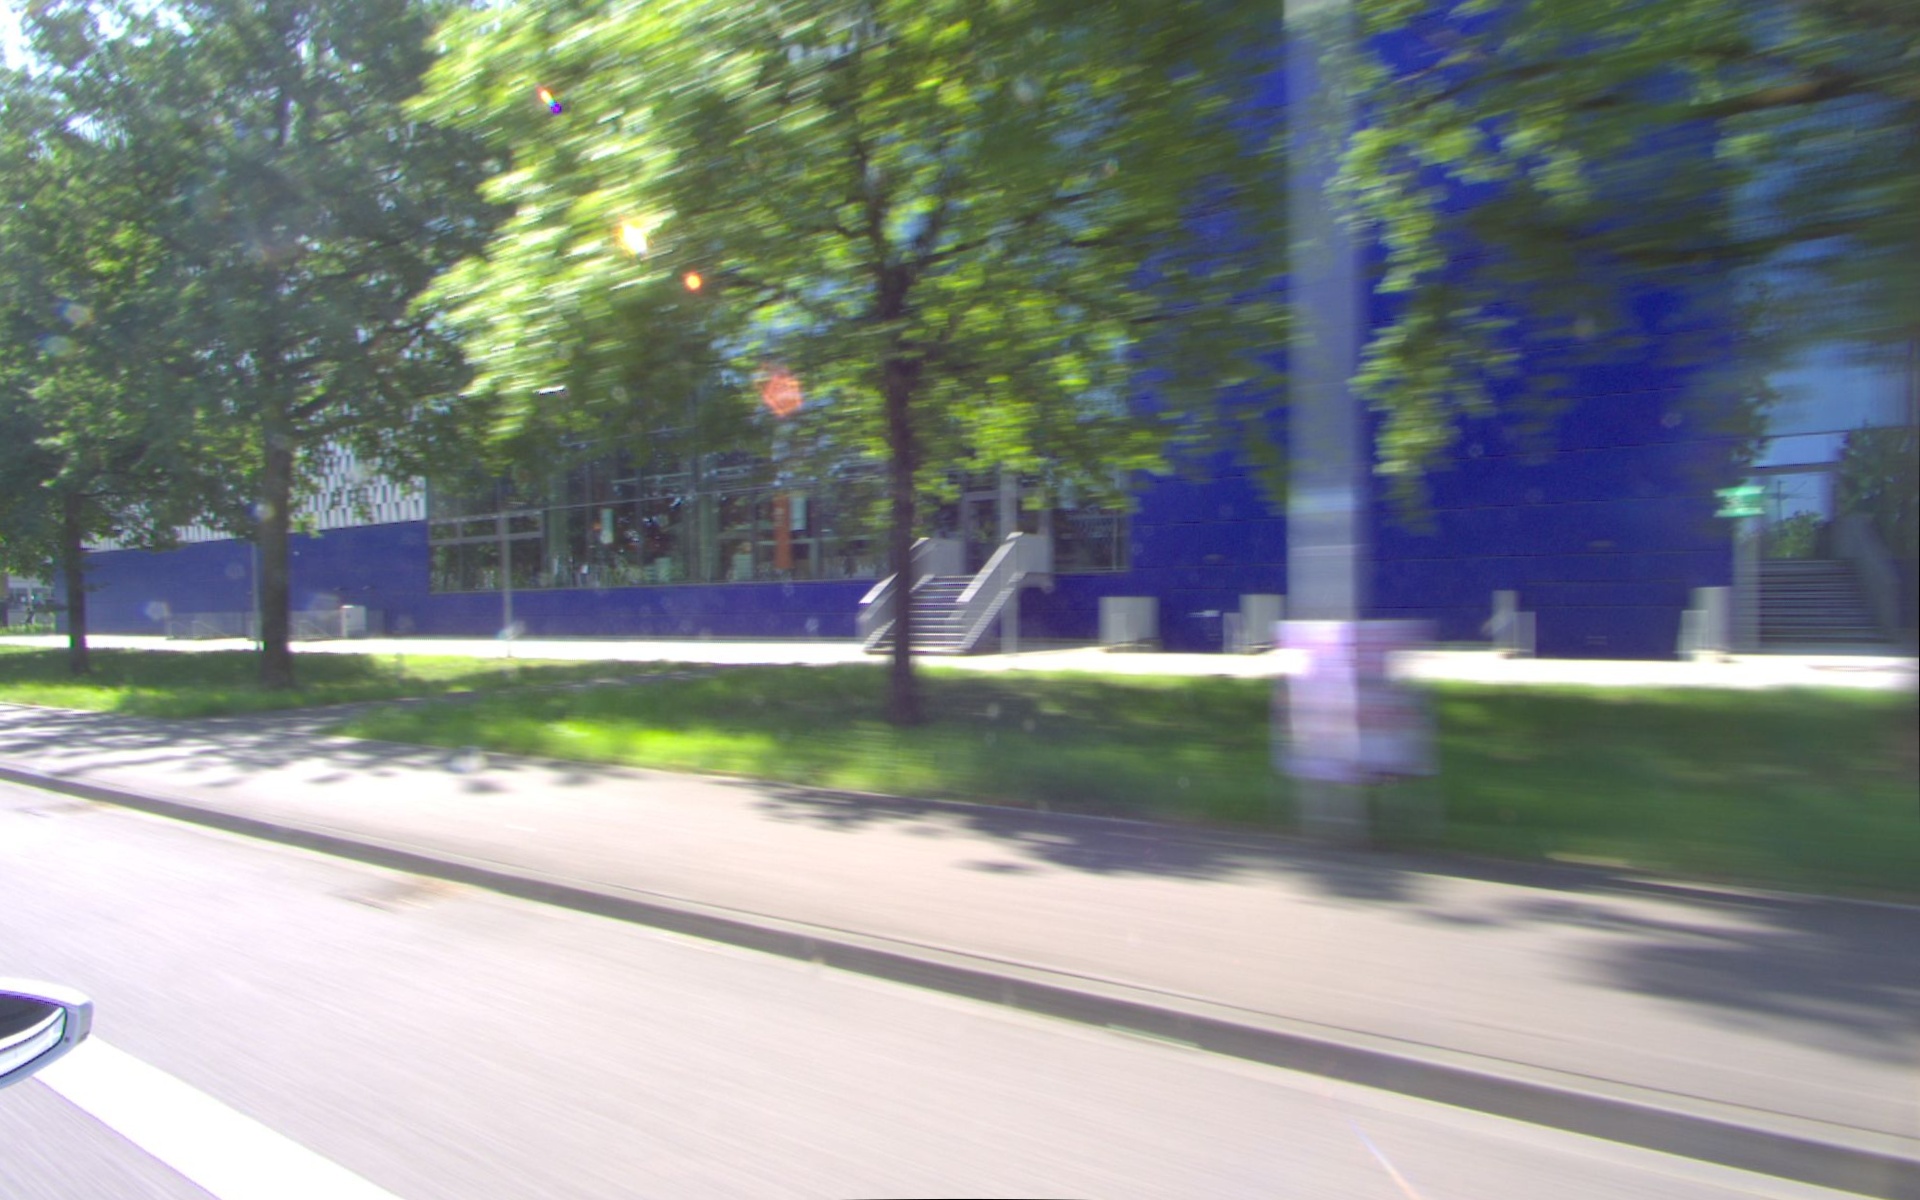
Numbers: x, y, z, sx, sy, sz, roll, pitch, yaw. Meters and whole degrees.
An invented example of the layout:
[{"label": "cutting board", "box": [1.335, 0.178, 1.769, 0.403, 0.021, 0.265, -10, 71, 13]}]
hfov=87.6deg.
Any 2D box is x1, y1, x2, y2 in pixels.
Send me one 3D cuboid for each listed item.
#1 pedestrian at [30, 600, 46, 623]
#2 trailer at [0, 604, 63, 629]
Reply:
[{"label": "pedestrian", "box": [-71.848, 0.882, 78.020, 0.791, 1.793, 0.627, -1, 1, 21]}, {"label": "trailer", "box": [-100.622, 1.600, 103.328, 1.973, 2.501, 11.841, 1, -1, 35]}]
